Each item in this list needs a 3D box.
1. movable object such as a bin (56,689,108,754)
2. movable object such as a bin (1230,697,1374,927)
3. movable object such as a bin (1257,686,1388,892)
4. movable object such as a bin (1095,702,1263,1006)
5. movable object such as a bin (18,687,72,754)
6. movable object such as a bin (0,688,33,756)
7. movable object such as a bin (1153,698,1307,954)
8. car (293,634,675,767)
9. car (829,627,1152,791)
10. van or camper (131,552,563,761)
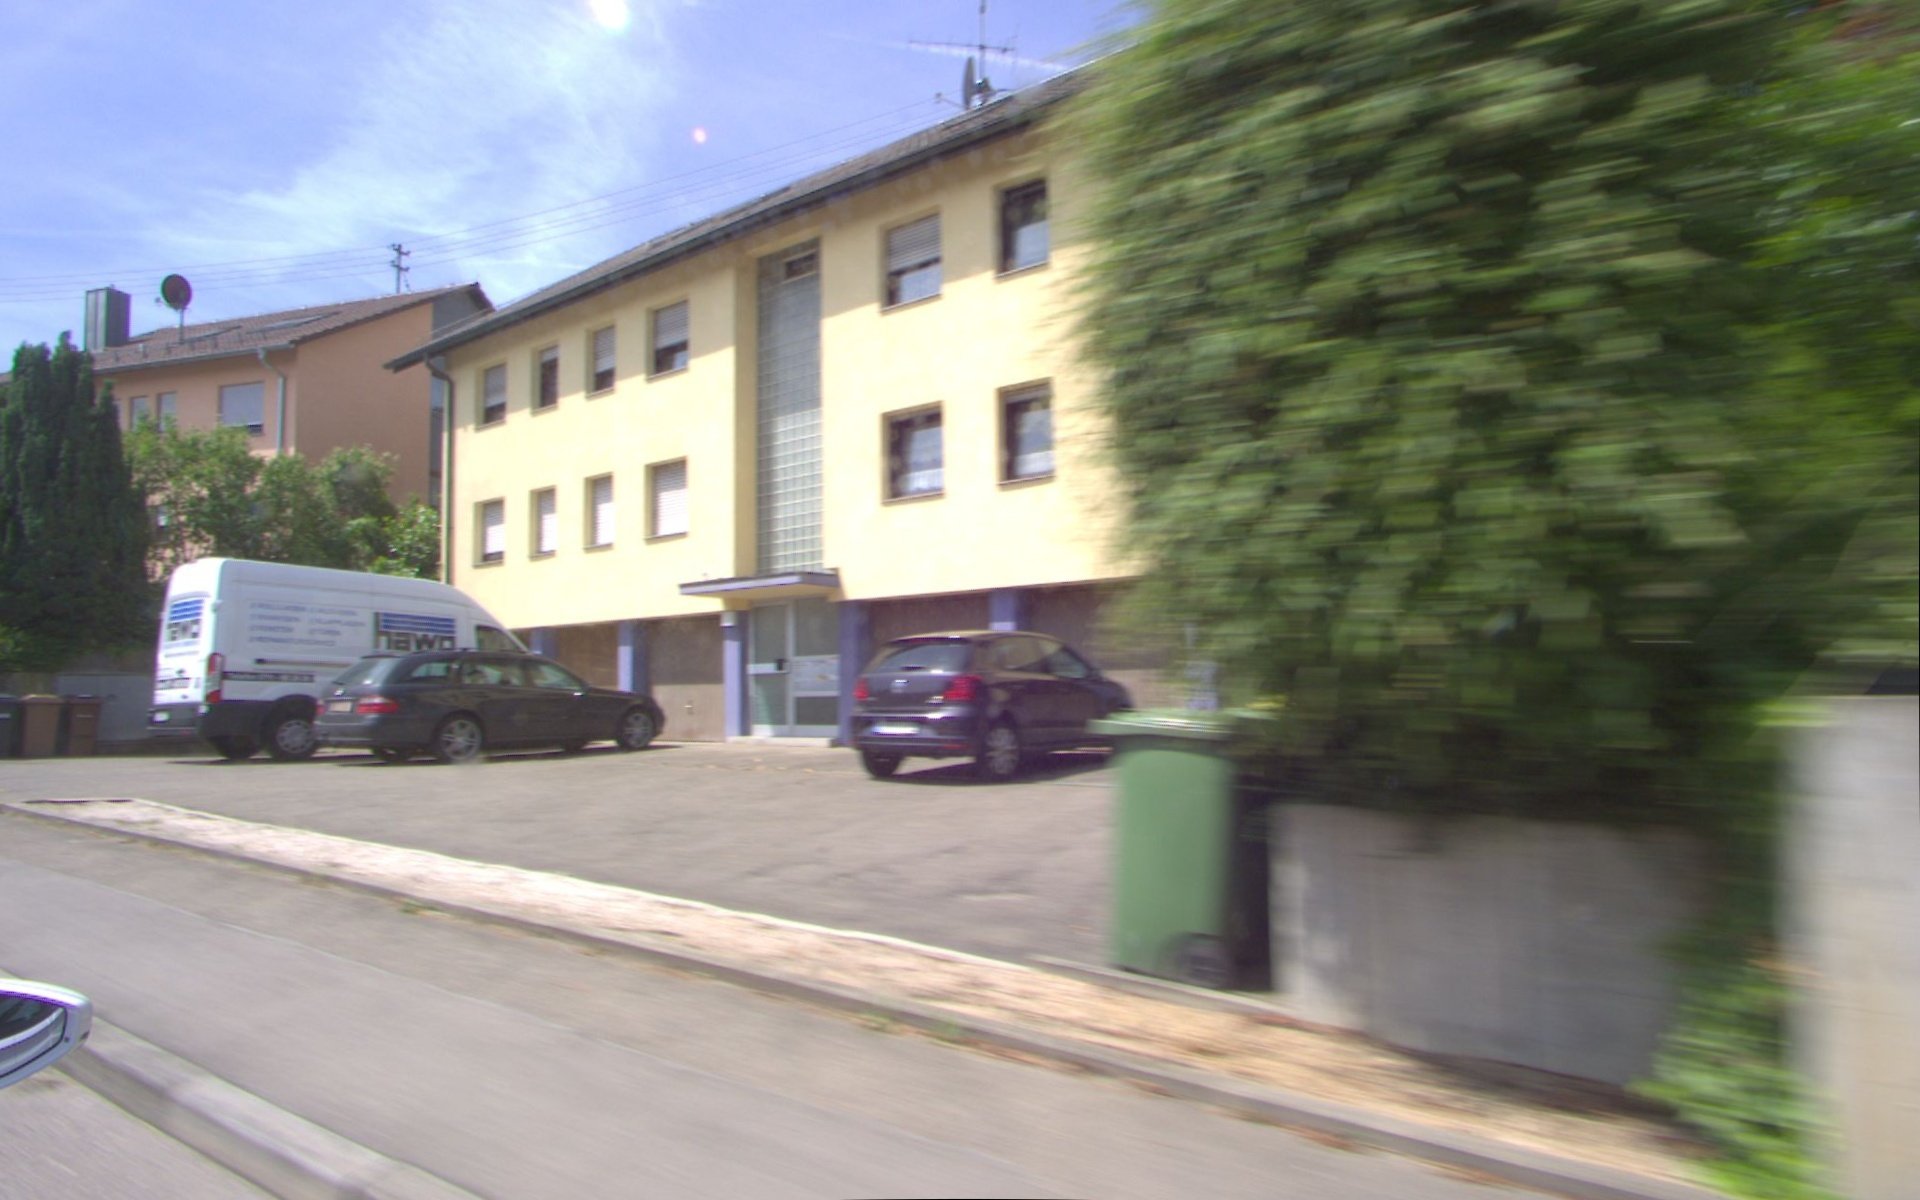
[{"bbox_3d":[-13.753,1.907,15.697,0.402,0.983,0.399,0,-7,27],"label":"movable object such as a bin"},{"bbox_3d":[1.747,1.042,5.115,0.557,1.035,0.482,-1,-1,39],"label":"movable object such as a bin"},{"bbox_3d":[2.039,1.025,5.630,0.557,1.035,0.482,-1,-1,39],"label":"movable object such as a bin"},{"bbox_3d":[0.921,1.006,4.188,0.556,1.121,0.484,-1,-3,32],"label":"movable object such as a bin"},{"bbox_3d":[-13.924,1.833,15.239,0.402,0.983,0.399,0,-7,27],"label":"movable object such as a bin"},{"bbox_3d":[-14.216,1.797,14.834,0.541,0.983,0.460,0,-7,27],"label":"movable object such as a bin"},{"bbox_3d":[1.281,1.020,4.740,0.557,1.084,0.482,-1,-3,39],"label":"movable object such as a bin"},{"bbox_3d":[-6.581,1.385,14.445,1.883,1.581,4.692,-4,-5,33],"label":"car"},{"bbox_3d":[0.478,1.094,10.725,1.624,1.435,3.670,-3,-5,38],"label":"car"},{"bbox_3d":[-9.226,1.018,15.653,2.254,2.676,5.221,-4,-7,33],"label":"van or camper"}]
